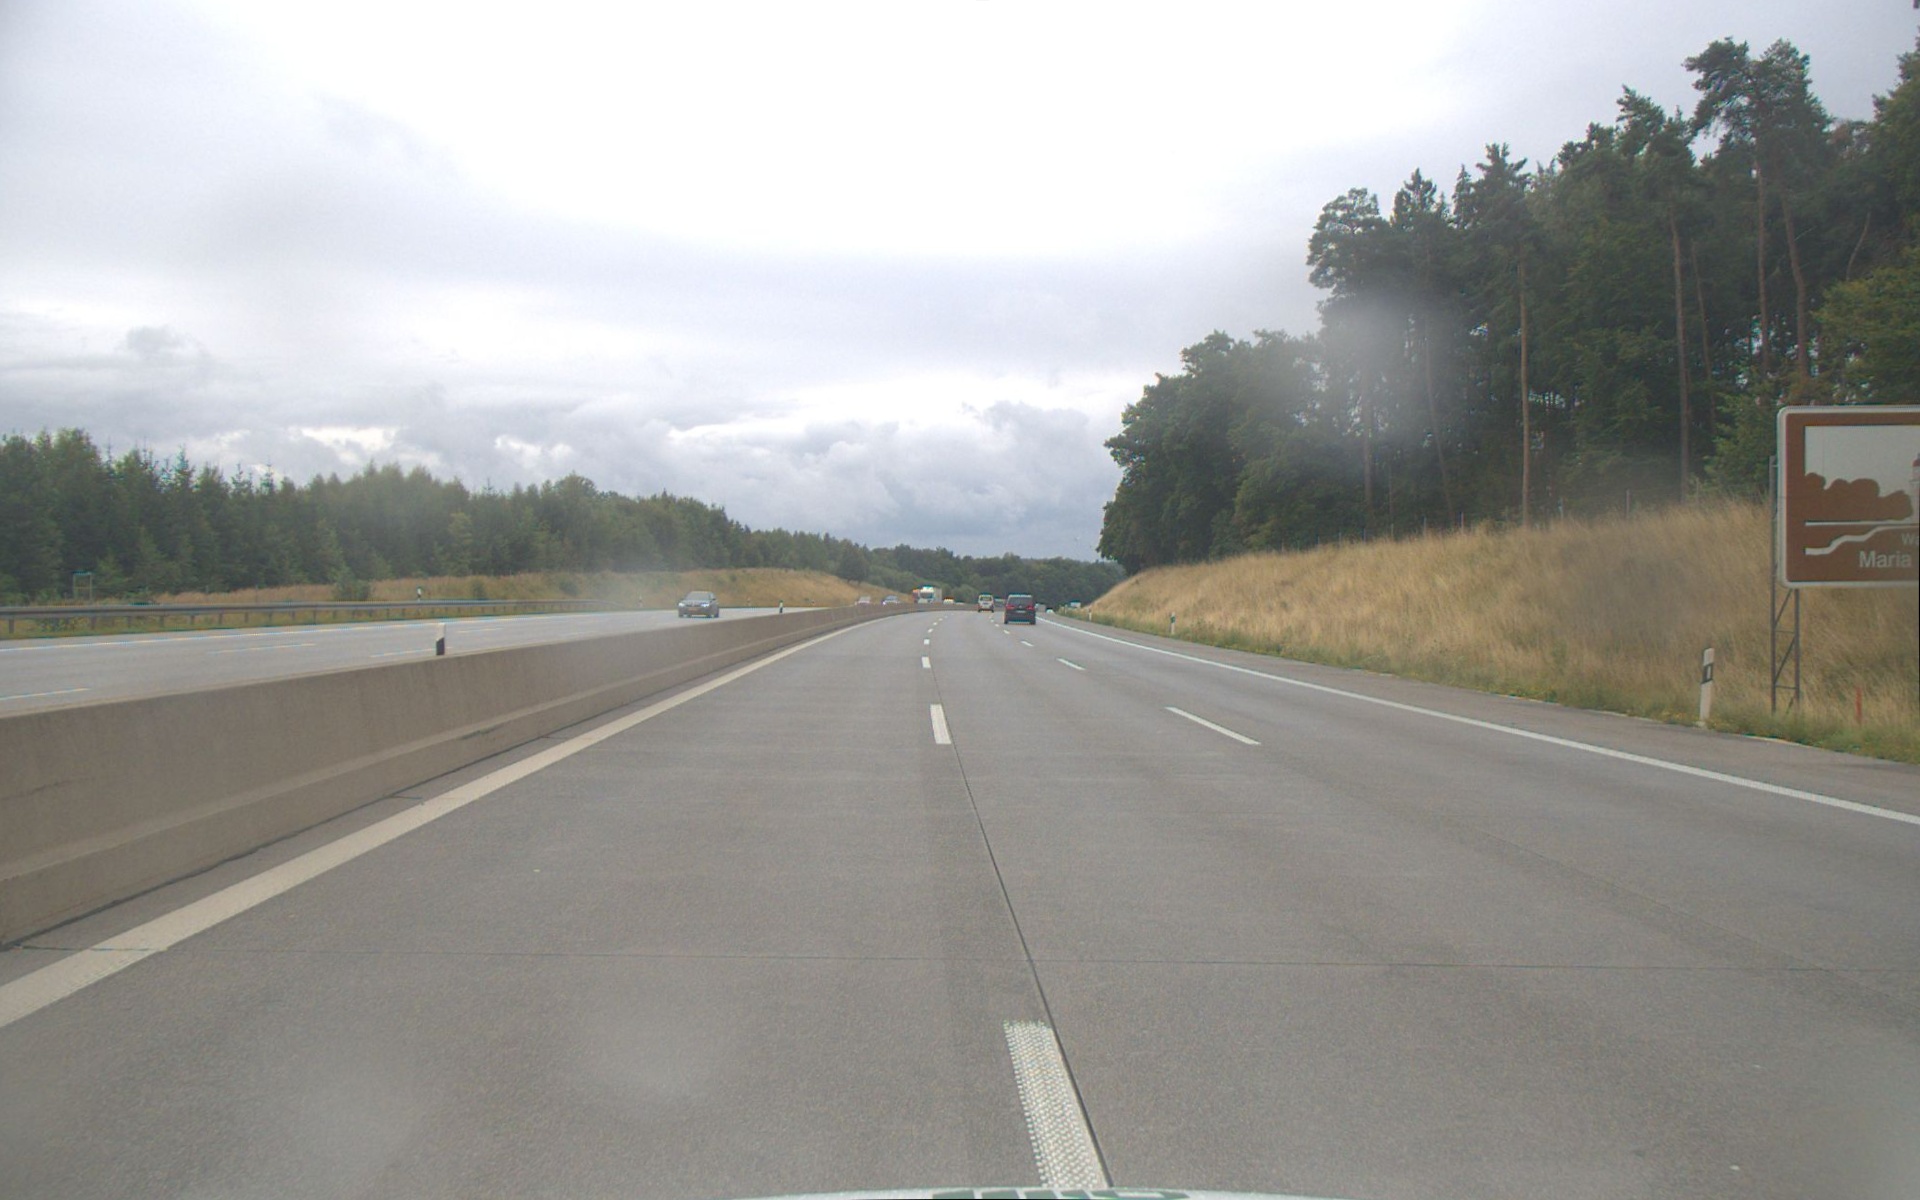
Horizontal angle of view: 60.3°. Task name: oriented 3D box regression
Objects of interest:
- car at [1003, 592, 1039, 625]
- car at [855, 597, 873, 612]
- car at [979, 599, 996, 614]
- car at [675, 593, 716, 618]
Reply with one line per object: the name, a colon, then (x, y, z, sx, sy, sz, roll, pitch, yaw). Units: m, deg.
car: (3.593, 0.500, 97.827, 1.749, 1.777, 3.914, -2, 2, -2)
car: (-11.892, 0.582, 205.296, 1.910, 1.646, 4.001, -2, 2, 0)
car: (3.202, 0.711, 192.729, 1.804, 1.526, 3.999, -2, 2, -2)
car: (-14.843, 0.297, 92.961, 1.732, 1.253, 3.954, 2, 1, -2)
